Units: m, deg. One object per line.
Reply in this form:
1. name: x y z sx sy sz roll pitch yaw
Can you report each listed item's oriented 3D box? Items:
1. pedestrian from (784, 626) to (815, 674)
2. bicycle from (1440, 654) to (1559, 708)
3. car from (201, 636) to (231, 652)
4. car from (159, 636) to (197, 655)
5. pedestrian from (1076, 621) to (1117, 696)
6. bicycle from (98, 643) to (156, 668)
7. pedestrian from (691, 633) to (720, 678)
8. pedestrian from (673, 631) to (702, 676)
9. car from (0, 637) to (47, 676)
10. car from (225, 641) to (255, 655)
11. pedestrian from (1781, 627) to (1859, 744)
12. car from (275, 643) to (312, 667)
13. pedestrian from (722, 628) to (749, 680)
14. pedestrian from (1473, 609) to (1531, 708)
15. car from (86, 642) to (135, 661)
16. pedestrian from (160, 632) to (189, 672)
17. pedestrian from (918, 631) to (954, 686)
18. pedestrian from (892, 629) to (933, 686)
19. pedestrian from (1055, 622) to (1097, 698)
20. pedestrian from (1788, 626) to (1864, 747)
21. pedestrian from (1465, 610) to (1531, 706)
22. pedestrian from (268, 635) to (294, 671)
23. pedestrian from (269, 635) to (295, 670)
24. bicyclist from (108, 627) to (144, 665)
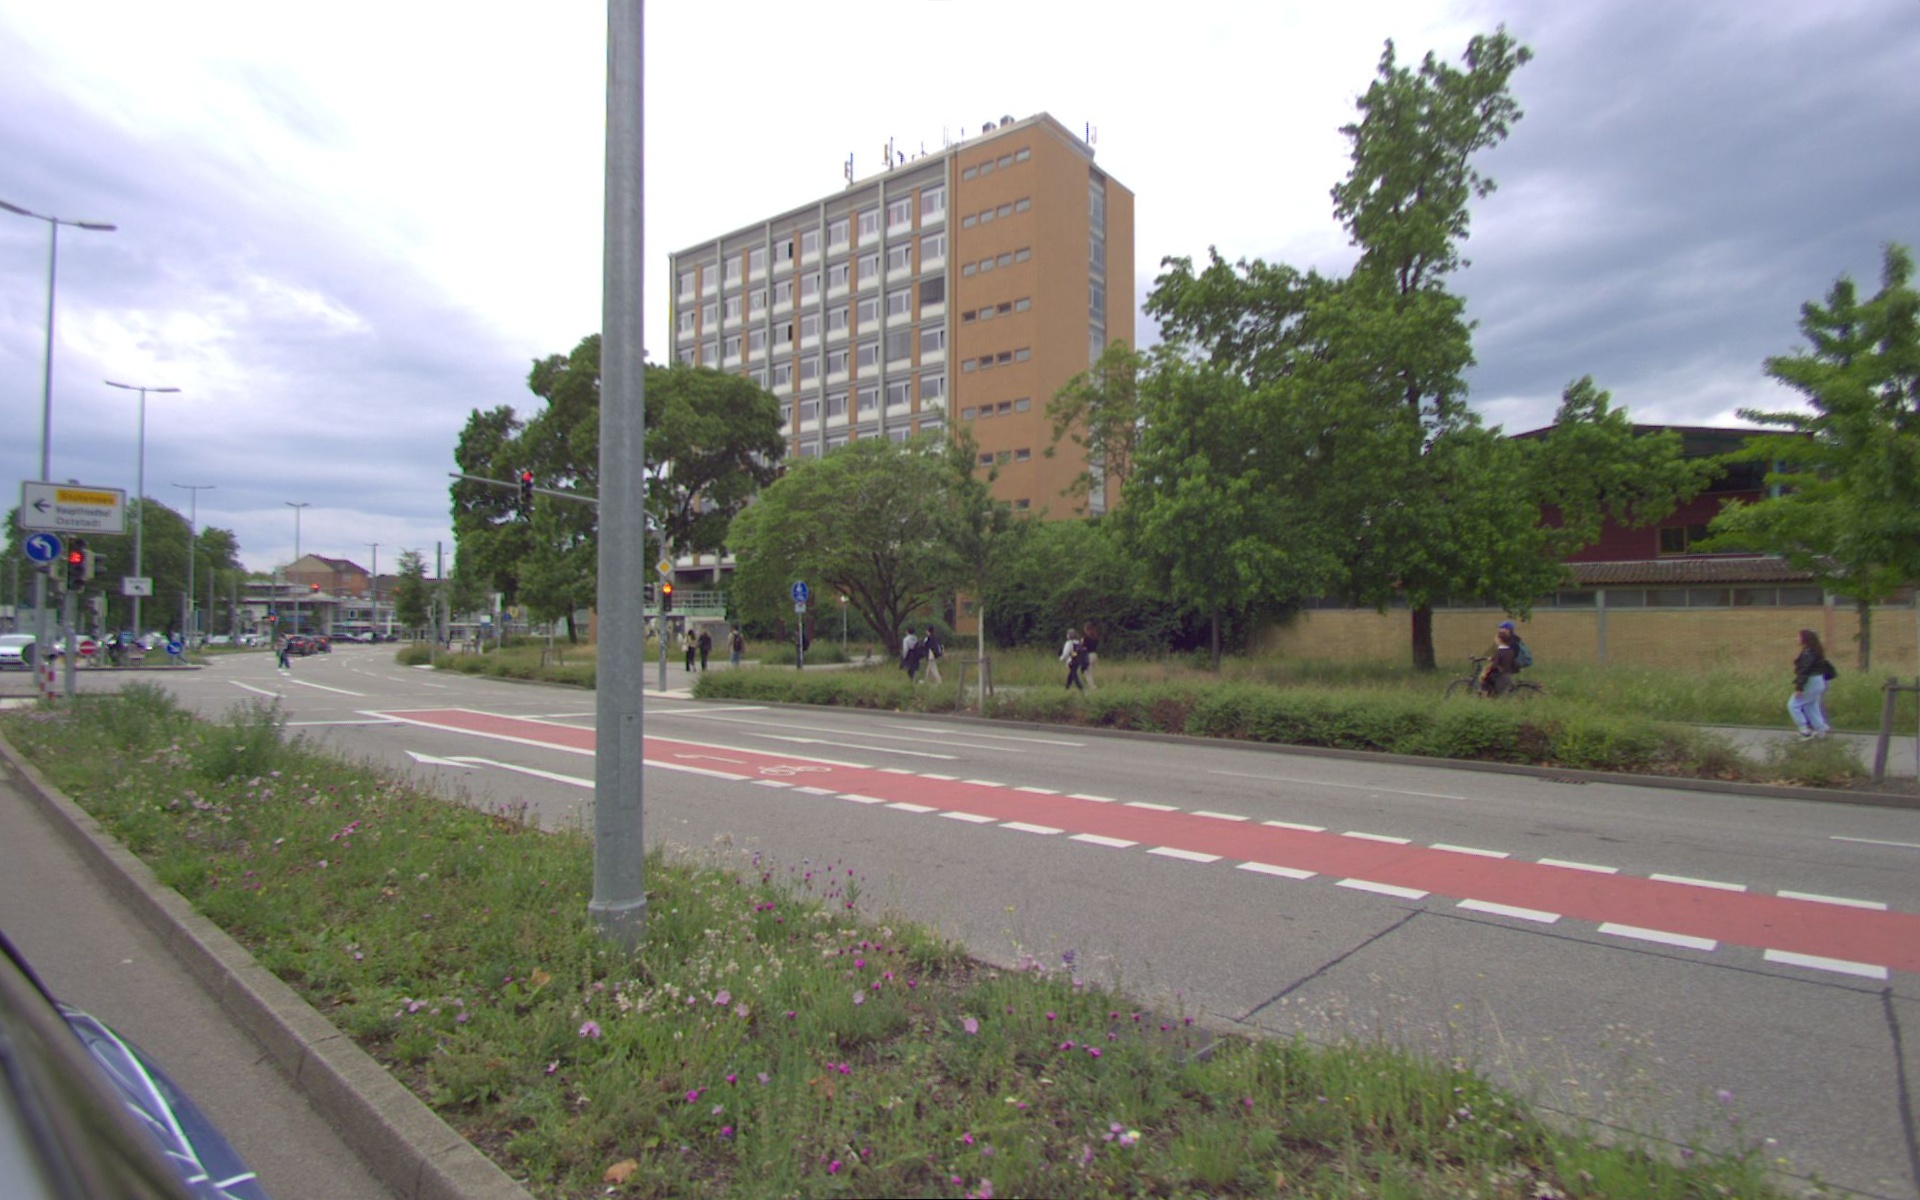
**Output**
1. pedestrian: -5.535 1.722 34.836 0.824 1.625 0.630 -2 -2 20
2. bicycle: 9.414 1.400 17.712 0.652 0.895 1.719 3 -4 -33
3. car: -79.552 4.720 108.260 1.774 1.608 3.771 2 -4 -24
4. car: -75.984 4.446 98.429 1.808 1.777 3.923 2 -4 -21
5. pedestrian: 3.194 1.376 23.730 0.571 1.725 0.763 4 -5 -40
6. bicycle: -39.076 2.625 47.470 0.807 1.151 1.978 -3 -5 43
7. pedestrian: -9.889 2.142 39.297 0.698 1.683 0.890 0 -2 -45
8. pedestrian: -10.457 2.047 38.785 0.698 1.684 0.944 1 -3 -45
9. car: -38.423 2.274 41.121 1.759 1.474 3.878 0 -2 -39
10. car: -81.996 5.466 115.257 1.583 1.608 3.770 2 -4 -17
11. pedestrian: 12.773 1.257 15.052 0.766 1.685 0.700 -2 -4 36
12. car: -50.274 4.125 76.421 1.785 1.680 3.962 2 -3 -26
13. pedestrian: -7.917 1.913 35.745 0.630 1.815 0.762 2 -3 -45
14. pedestrian: 9.065 0.975 16.927 0.567 1.621 0.618 3 -4 -32
15. car: -67.857 4.115 80.916 1.789 1.486 4.045 2 -4 -23
16. pedestrian: -35.678 2.367 45.988 0.904 1.818 0.542 3 -4 -32
17. pedestrian: -0.656 1.608 27.736 0.628 1.491 0.762 4 -5 -45
18. pedestrian: -1.271 1.543 26.971 0.720 1.491 0.813 4 -5 -45
19. pedestrian: 2.651 1.372 23.178 0.614 1.708 0.748 3 -5 -40
20. pedestrian: 12.372 1.217 14.484 0.719 1.673 0.580 -2 -4 36
21. pedestrian: 9.417 1.018 17.735 0.652 1.644 0.765 3 -4 -33
22. pedestrian: -34.285 2.674 51.096 0.735 1.818 0.763 -1 -4 20
23. pedestrian: -32.753 2.535 48.912 0.705 1.680 0.769 -2 -4 33
24. bicyclist: -39.115 2.178 47.465 0.807 1.749 1.175 -3 -5 43
